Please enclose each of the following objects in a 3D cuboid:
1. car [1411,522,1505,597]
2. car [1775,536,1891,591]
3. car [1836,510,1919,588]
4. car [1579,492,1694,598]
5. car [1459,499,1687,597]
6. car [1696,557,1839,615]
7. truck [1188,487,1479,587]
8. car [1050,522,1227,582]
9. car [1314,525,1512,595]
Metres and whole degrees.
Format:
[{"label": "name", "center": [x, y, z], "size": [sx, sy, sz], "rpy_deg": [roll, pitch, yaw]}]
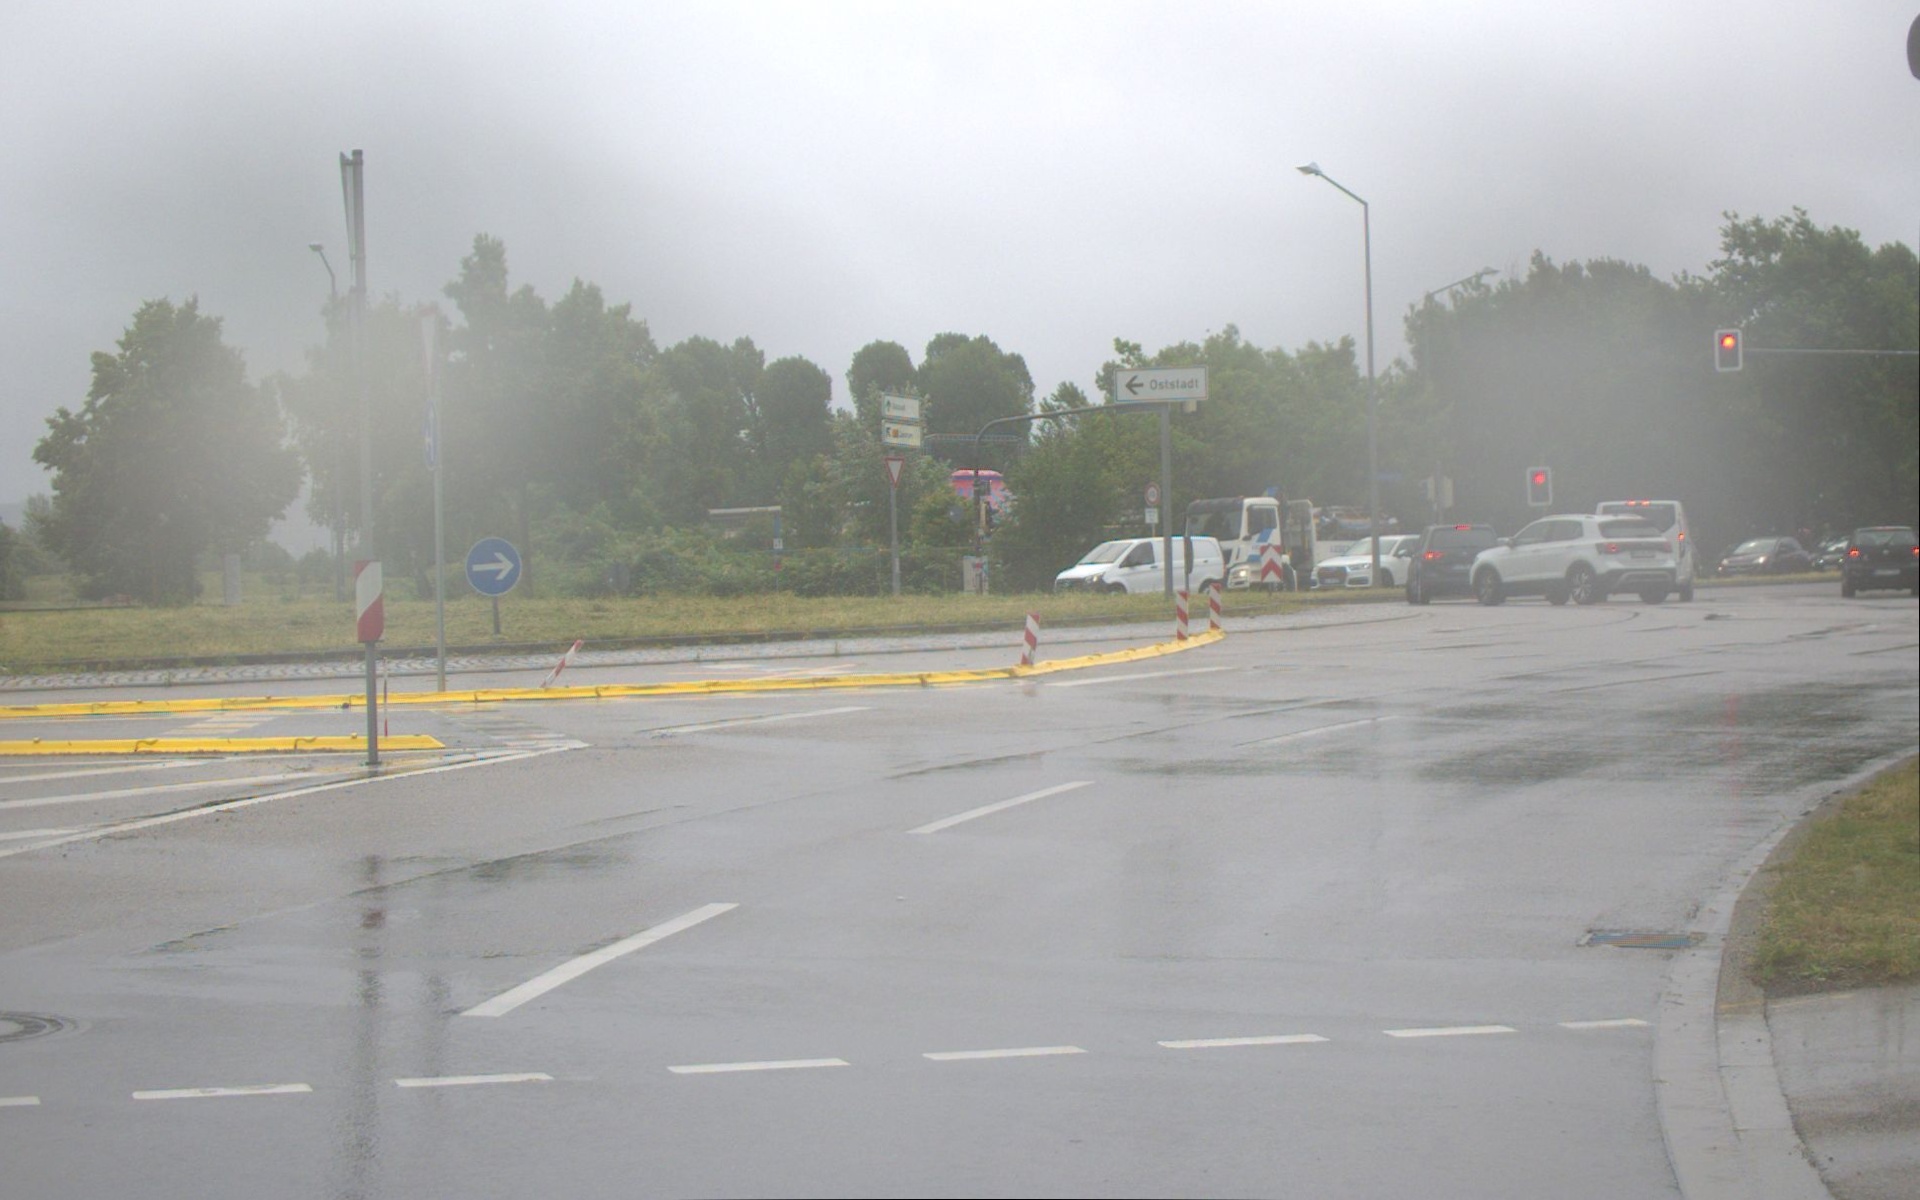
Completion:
[{"label": "car", "center": [10.211, -0.821, 70.703], "size": [1.689, 1.487, 3.250], "rpy_deg": [1, 1, 5]}, {"label": "car", "center": [28.632, -1.179, 112.689], "size": [1.998, 1.744, 3.990], "rpy_deg": [1, 1, 43]}, {"label": "car", "center": [18.304, -1.024, 67.994], "size": [1.689, 1.487, 3.250], "rpy_deg": [-1, 1, 11]}, {"label": "car", "center": [13.484, -1.078, 68.704], "size": [1.783, 2.029, 3.999], "rpy_deg": [1, 1, 5]}, {"label": "car", "center": [10.659, -0.909, 60.007], "size": [1.681, 1.642, 3.947], "rpy_deg": [0, 1, -33]}, {"label": "car", "center": [25.306, -0.431, 107.687], "size": [4.852, 1.738, 1.777], "rpy_deg": [0, 1, -40]}, {"label": "truck", "center": [10.727, -1.759, 98.222], "size": [8.768, 2.702, 2.000], "rpy_deg": [0, 1, -30]}, {"label": "car", "center": [4.663, -1.235, 89.592], "size": [4.534, 1.487, 1.611], "rpy_deg": [0, 1, -34]}, {"label": "car", "center": [11.763, -1.045, 89.257], "size": [4.854, 1.738, 1.776], "rpy_deg": [1, 0, 17]}]
